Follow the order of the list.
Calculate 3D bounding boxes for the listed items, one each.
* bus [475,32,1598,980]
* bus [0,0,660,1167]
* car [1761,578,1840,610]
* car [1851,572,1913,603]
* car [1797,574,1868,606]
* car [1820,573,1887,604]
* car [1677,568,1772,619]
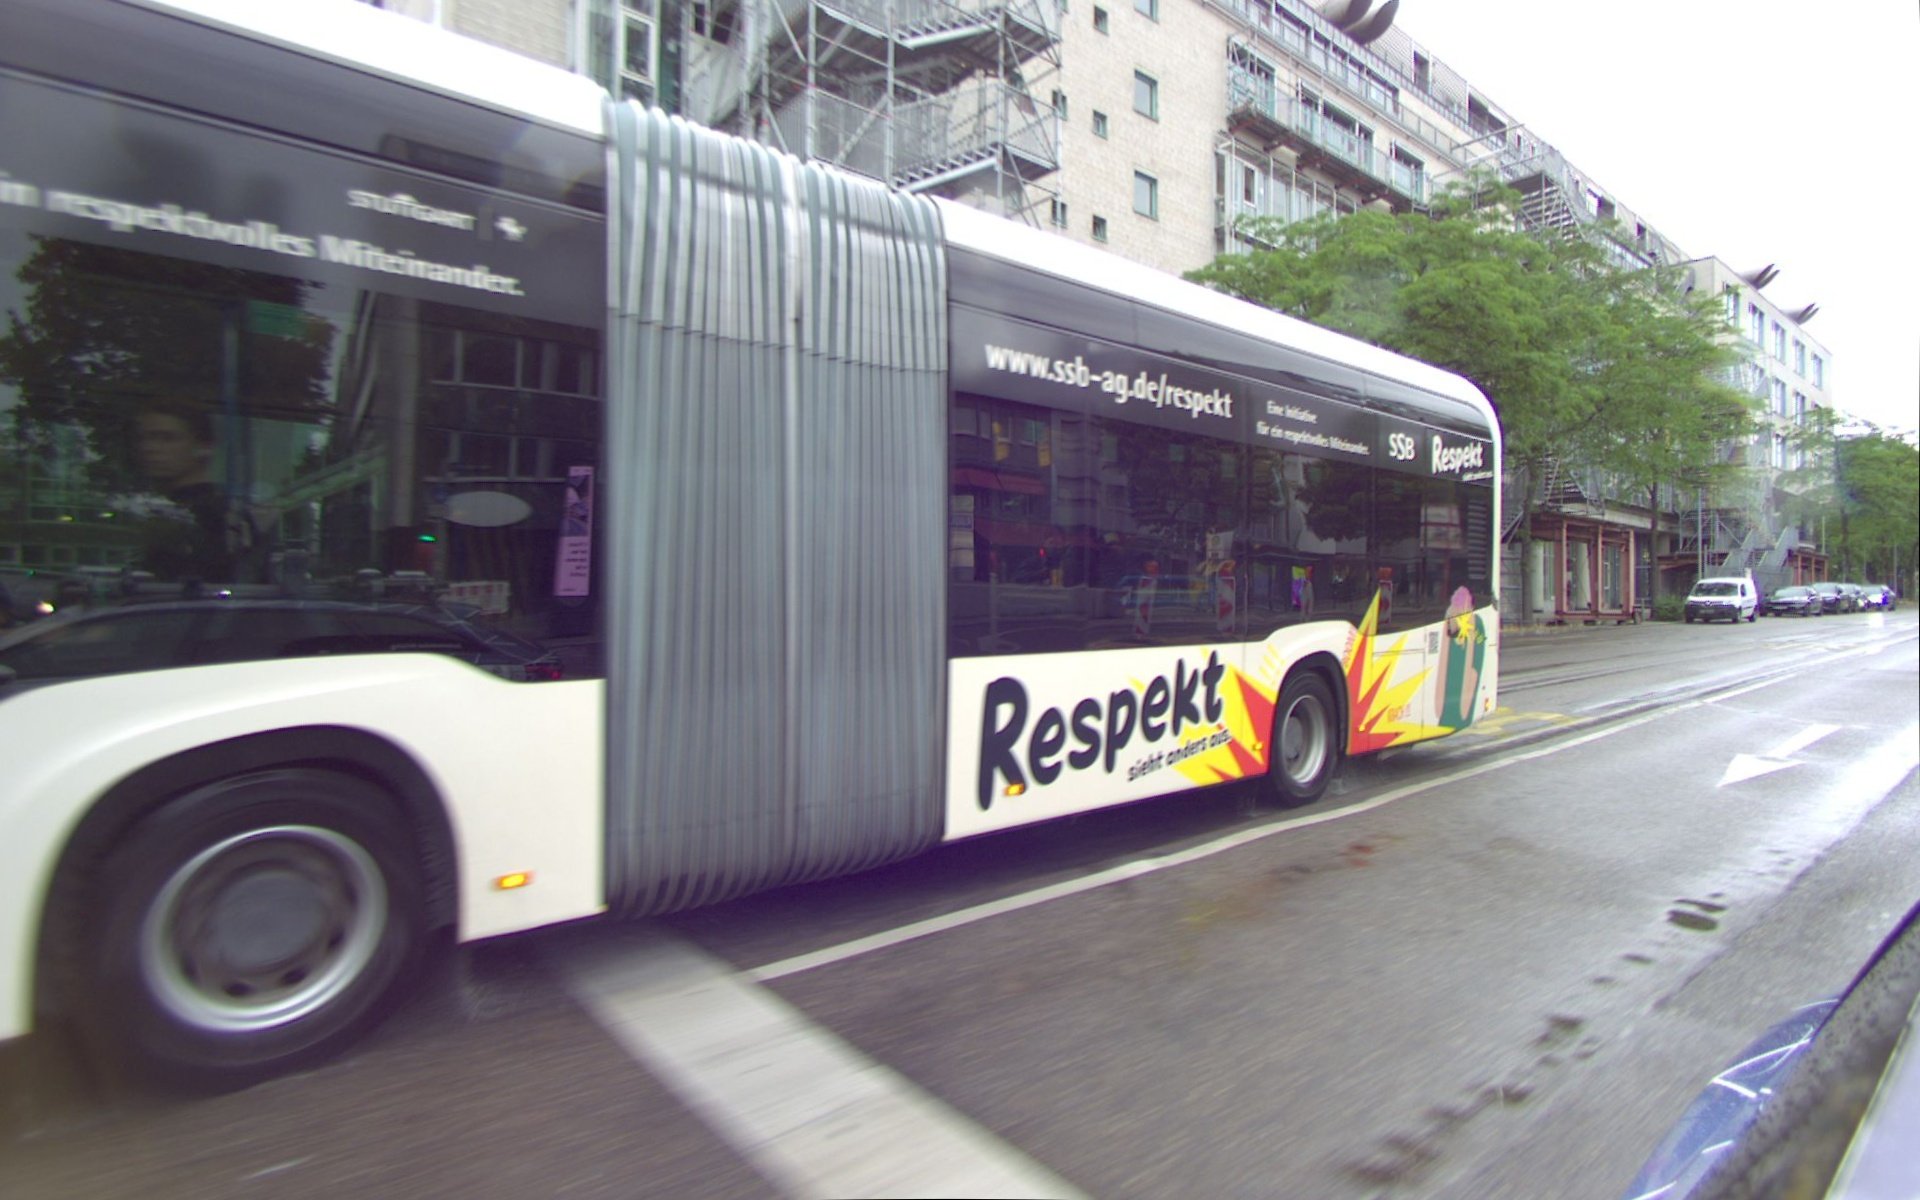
[{"bbox_3d":[1.723,-0.462,7.947,9.542,3.483,2.888,-2,1,-41],"label":"bus"},{"bbox_3d":[-5.653,-0.273,1.586,9.587,3.493,2.888,-2,1,-41],"label":"bus"},{"bbox_3d":[39.655,-0.311,47.706,4.733,1.353,2.145,-2,1,-41],"label":"car"},{"bbox_3d":[53.507,-0.742,58.724,4.733,1.667,2.145,-2,1,-41],"label":"car"},{"bbox_3d":[44.814,-0.542,51.949,4.733,1.513,2.145,-2,1,-41],"label":"car"},{"bbox_3d":[48.930,-0.648,55.405,4.733,1.580,2.145,-2,1,-41],"label":"car"},{"bbox_3d":[30.619,-0.290,40.489,4.255,1.930,2.211,-2,1,-41],"label":"car"}]
